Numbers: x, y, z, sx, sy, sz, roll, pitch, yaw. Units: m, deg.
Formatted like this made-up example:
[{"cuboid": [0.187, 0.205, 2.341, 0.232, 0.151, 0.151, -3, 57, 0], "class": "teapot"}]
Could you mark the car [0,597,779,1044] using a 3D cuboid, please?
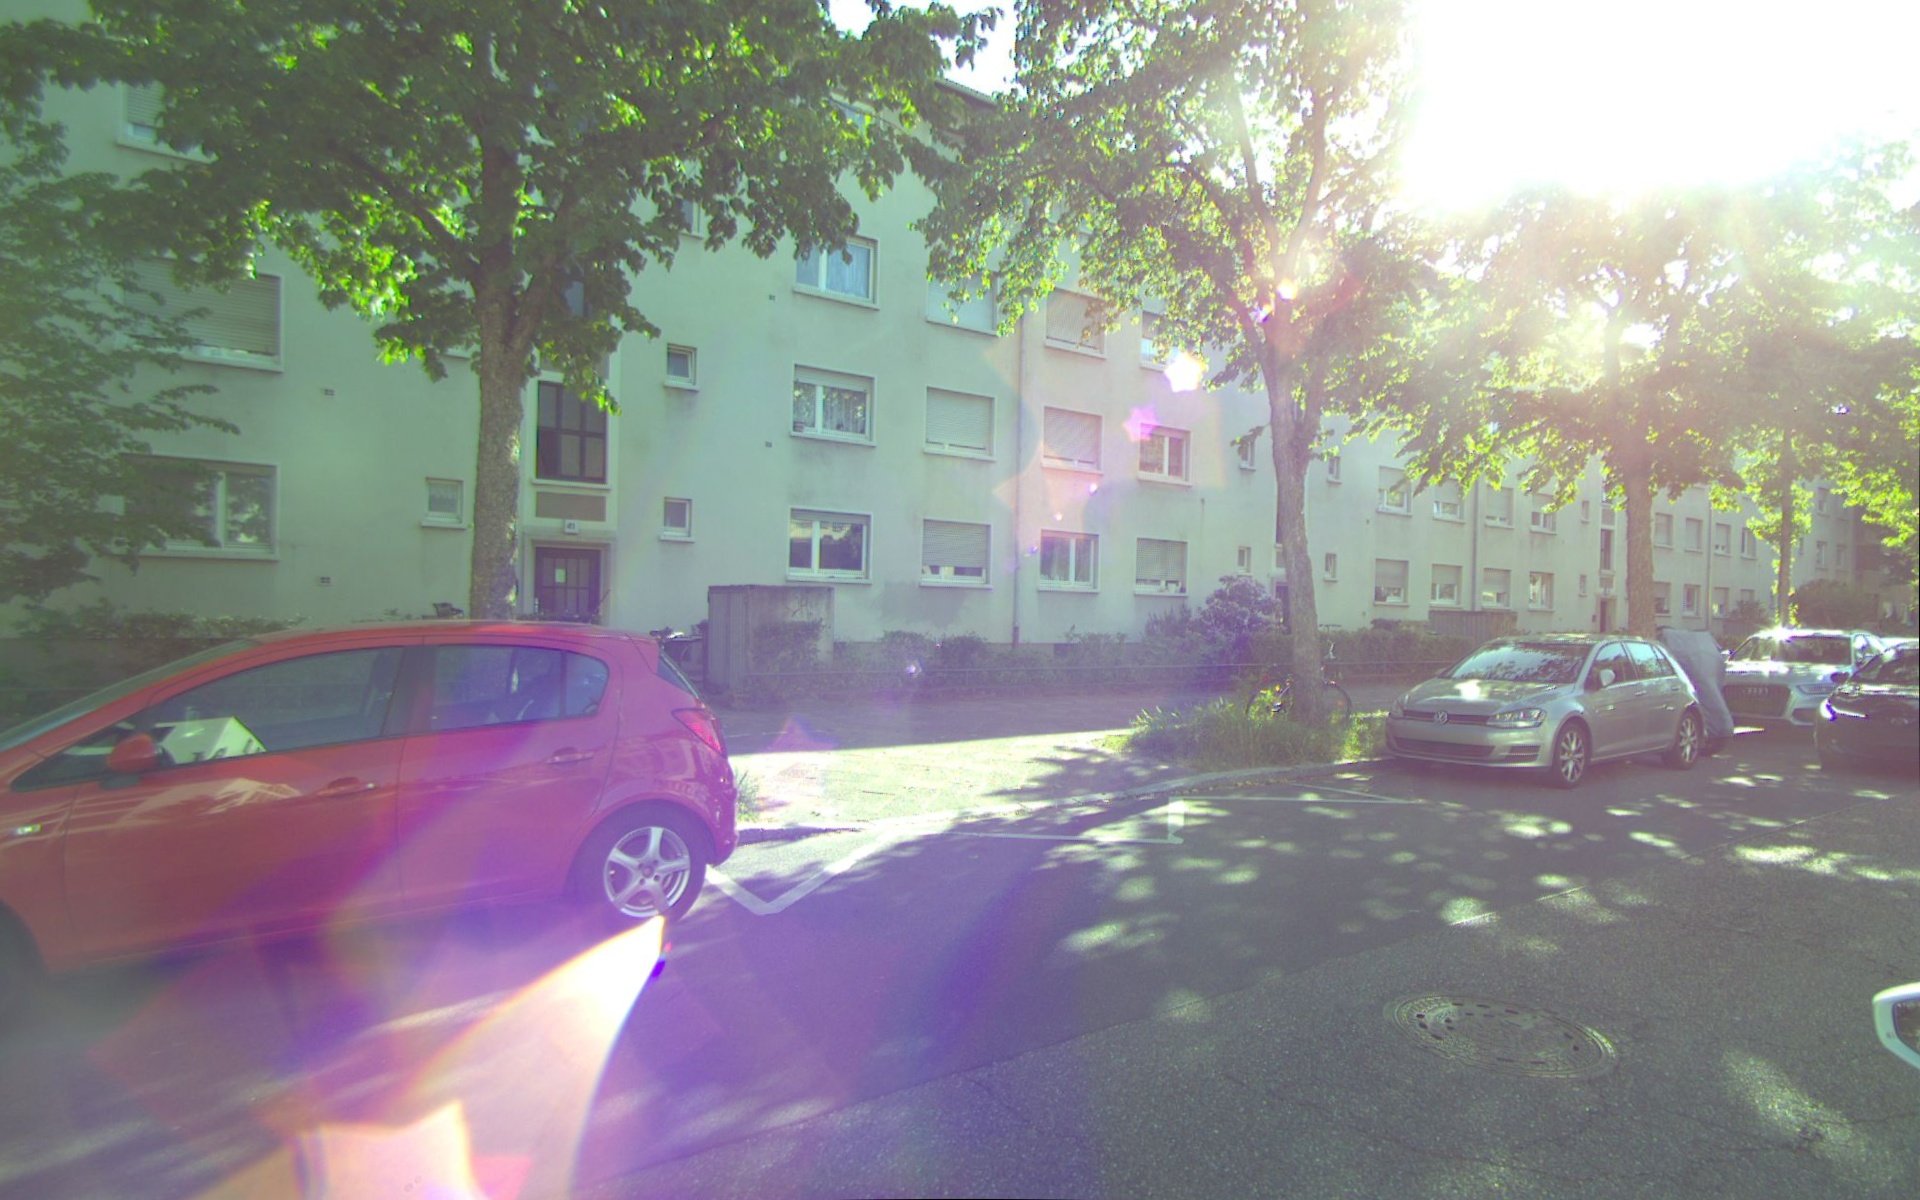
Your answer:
[{"cuboid": [-3.118, 0.760, 4.559, 4.139, 1.489, 1.845, 1, 0, -34], "class": "car"}]

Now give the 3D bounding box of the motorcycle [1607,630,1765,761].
[{"cuboid": [9.391, 1.167, 13.124, 0.970, 1.523, 2.235, 1, -1, 16], "class": "motorcycle"}]

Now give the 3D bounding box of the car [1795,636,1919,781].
[{"cuboid": [11.500, 1.173, 11.629, 4.323, 1.464, 1.797, 2, -2, -36], "class": "car"}]

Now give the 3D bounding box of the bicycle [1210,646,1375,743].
[{"cuboid": [4.023, 1.106, 12.096, 2.065, 1.029, 0.528, 1, 7, -29], "class": "bicycle"}]

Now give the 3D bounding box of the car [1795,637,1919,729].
[{"cuboid": [16.949, 1.405, 18.126, 4.773, 1.466, 1.717, 1, -3, -35], "class": "car"}]

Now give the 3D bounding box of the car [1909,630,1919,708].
[{"cuboid": [22.331, 1.463, 21.765, 4.323, 1.639, 1.717, 2, -4, -36], "class": "car"}]

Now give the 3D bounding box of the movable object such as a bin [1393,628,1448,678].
[{"cuboid": [10.677, 1.222, 23.304, 0.748, 1.106, 0.922, 2, -1, -39], "class": "movable object such as a bin"}]

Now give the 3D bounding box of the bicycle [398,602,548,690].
[{"cuboid": [-7.113, 0.665, 14.705, 1.891, 1.217, 0.682, 2, 0, -32], "class": "bicycle"}]

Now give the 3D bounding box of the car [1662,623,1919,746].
[{"cuboid": [12.707, 1.159, 15.244, 4.679, 1.544, 2.048, 2, 0, -38], "class": "car"}]

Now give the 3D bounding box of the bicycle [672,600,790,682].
[{"cuboid": [-3.804, 0.680, 16.779, 1.895, 1.306, 0.396, 2, -1, -35], "class": "bicycle"}]

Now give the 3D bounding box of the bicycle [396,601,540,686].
[{"cuboid": [-7.482, 0.651, 15.304, 1.891, 1.217, 0.682, 2, 0, -32], "class": "bicycle"}]

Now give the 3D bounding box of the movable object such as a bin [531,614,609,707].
[{"cuboid": [-4.773, 0.724, 12.295, 0.752, 1.082, 0.690, 1, 0, -33], "class": "movable object such as a bin"}]

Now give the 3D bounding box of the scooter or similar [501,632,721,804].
[{"cuboid": [-2.667, 0.896, 7.783, 1.485, 1.251, 0.556, 1, 0, -5], "class": "scooter or similar"}]

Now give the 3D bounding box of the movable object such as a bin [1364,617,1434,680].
[{"cuboid": [9.887, 1.078, 22.619, 1.368, 1.341, 0.922, 2, -1, -40], "class": "movable object such as a bin"}]

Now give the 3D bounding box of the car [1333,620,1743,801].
[{"cuboid": [6.329, 1.029, 10.856, 4.557, 1.544, 2.031, 2, -1, -34], "class": "car"}]

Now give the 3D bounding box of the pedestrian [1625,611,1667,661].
[{"cuboid": [26.930, 1.420, 39.425, 1.011, 1.913, 0.931, 1, 0, -23], "class": "pedestrian"}]
